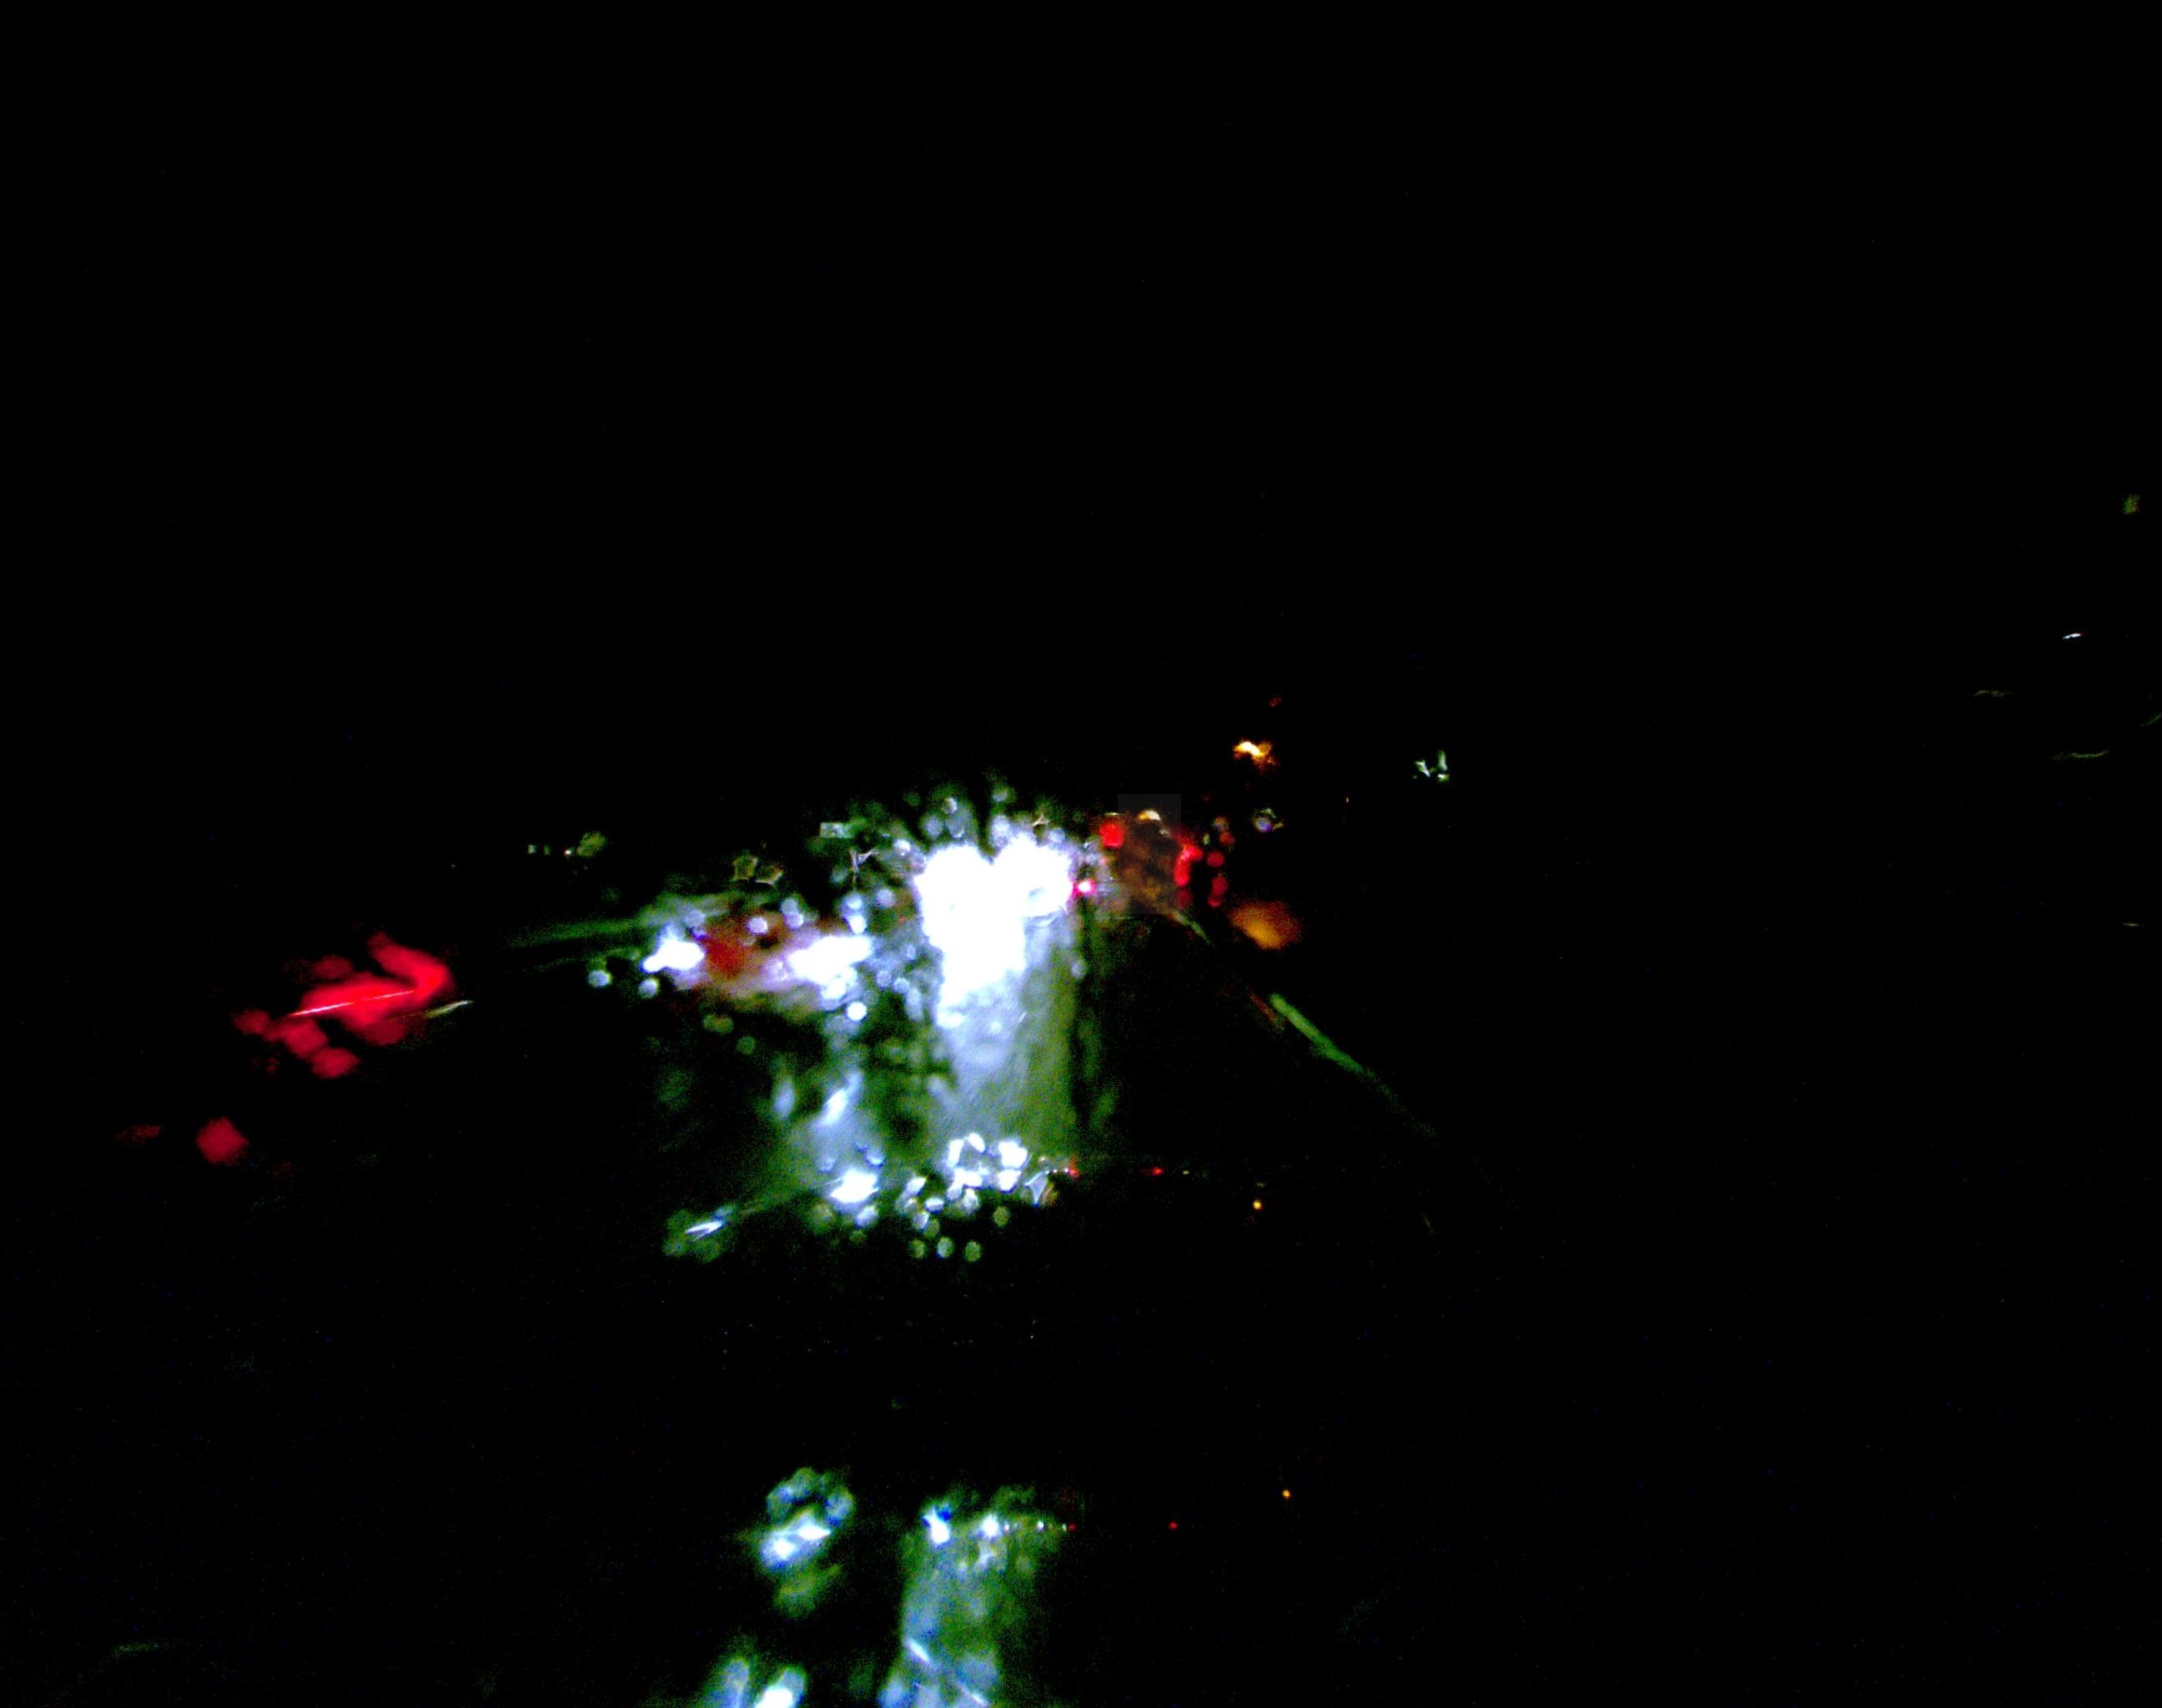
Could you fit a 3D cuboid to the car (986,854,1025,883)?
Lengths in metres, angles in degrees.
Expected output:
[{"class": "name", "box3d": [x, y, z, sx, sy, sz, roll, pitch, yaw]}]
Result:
[{"class": "car", "box3d": [-4.348, 0.830, 47.540, 1.713, 1.588, 4.315, -1, 0, 2]}]

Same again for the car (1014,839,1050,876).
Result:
[{"class": "car", "box3d": [-3.748, 0.291, 63.326, 2.114, 2.707, 6.245, -1, 0, 3]}]

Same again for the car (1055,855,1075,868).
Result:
[{"class": "car", "box3d": [-1.893, 0.868, 98.946, 2.069, 1.449, 4.994, -1, 0, 2]}]

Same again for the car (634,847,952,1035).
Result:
[{"class": "car", "box3d": [-2.818, 0.732, 9.239, 1.837, 1.575, 4.598, -1, 0, 2]}]

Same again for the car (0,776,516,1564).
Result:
[{"class": "car", "box3d": [-3.247, 0.685, 1.018, 1.837, 1.668, 4.447, -1, 0, 2]}]

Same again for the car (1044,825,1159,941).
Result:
[{"class": "car", "box3d": [0.400, 0.494, 16.030, 1.935, 1.972, 4.219, -1, 0, 1]}]

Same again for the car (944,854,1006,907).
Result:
[{"class": "car", "box3d": [-3.515, 0.815, 27.562, 1.801, 1.629, 4.409, -1, 0, -4]}]

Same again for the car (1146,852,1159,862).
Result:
[{"class": "car", "box3d": [11.114, 0.423, 126.522, 1.654, 1.450, 4.059, -1, -1, 8]}]

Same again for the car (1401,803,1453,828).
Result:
[{"class": "car", "box3d": [25.567, -2.800, 60.274, 1.613, 1.640, 3.985, -1, -1, -11]}]
